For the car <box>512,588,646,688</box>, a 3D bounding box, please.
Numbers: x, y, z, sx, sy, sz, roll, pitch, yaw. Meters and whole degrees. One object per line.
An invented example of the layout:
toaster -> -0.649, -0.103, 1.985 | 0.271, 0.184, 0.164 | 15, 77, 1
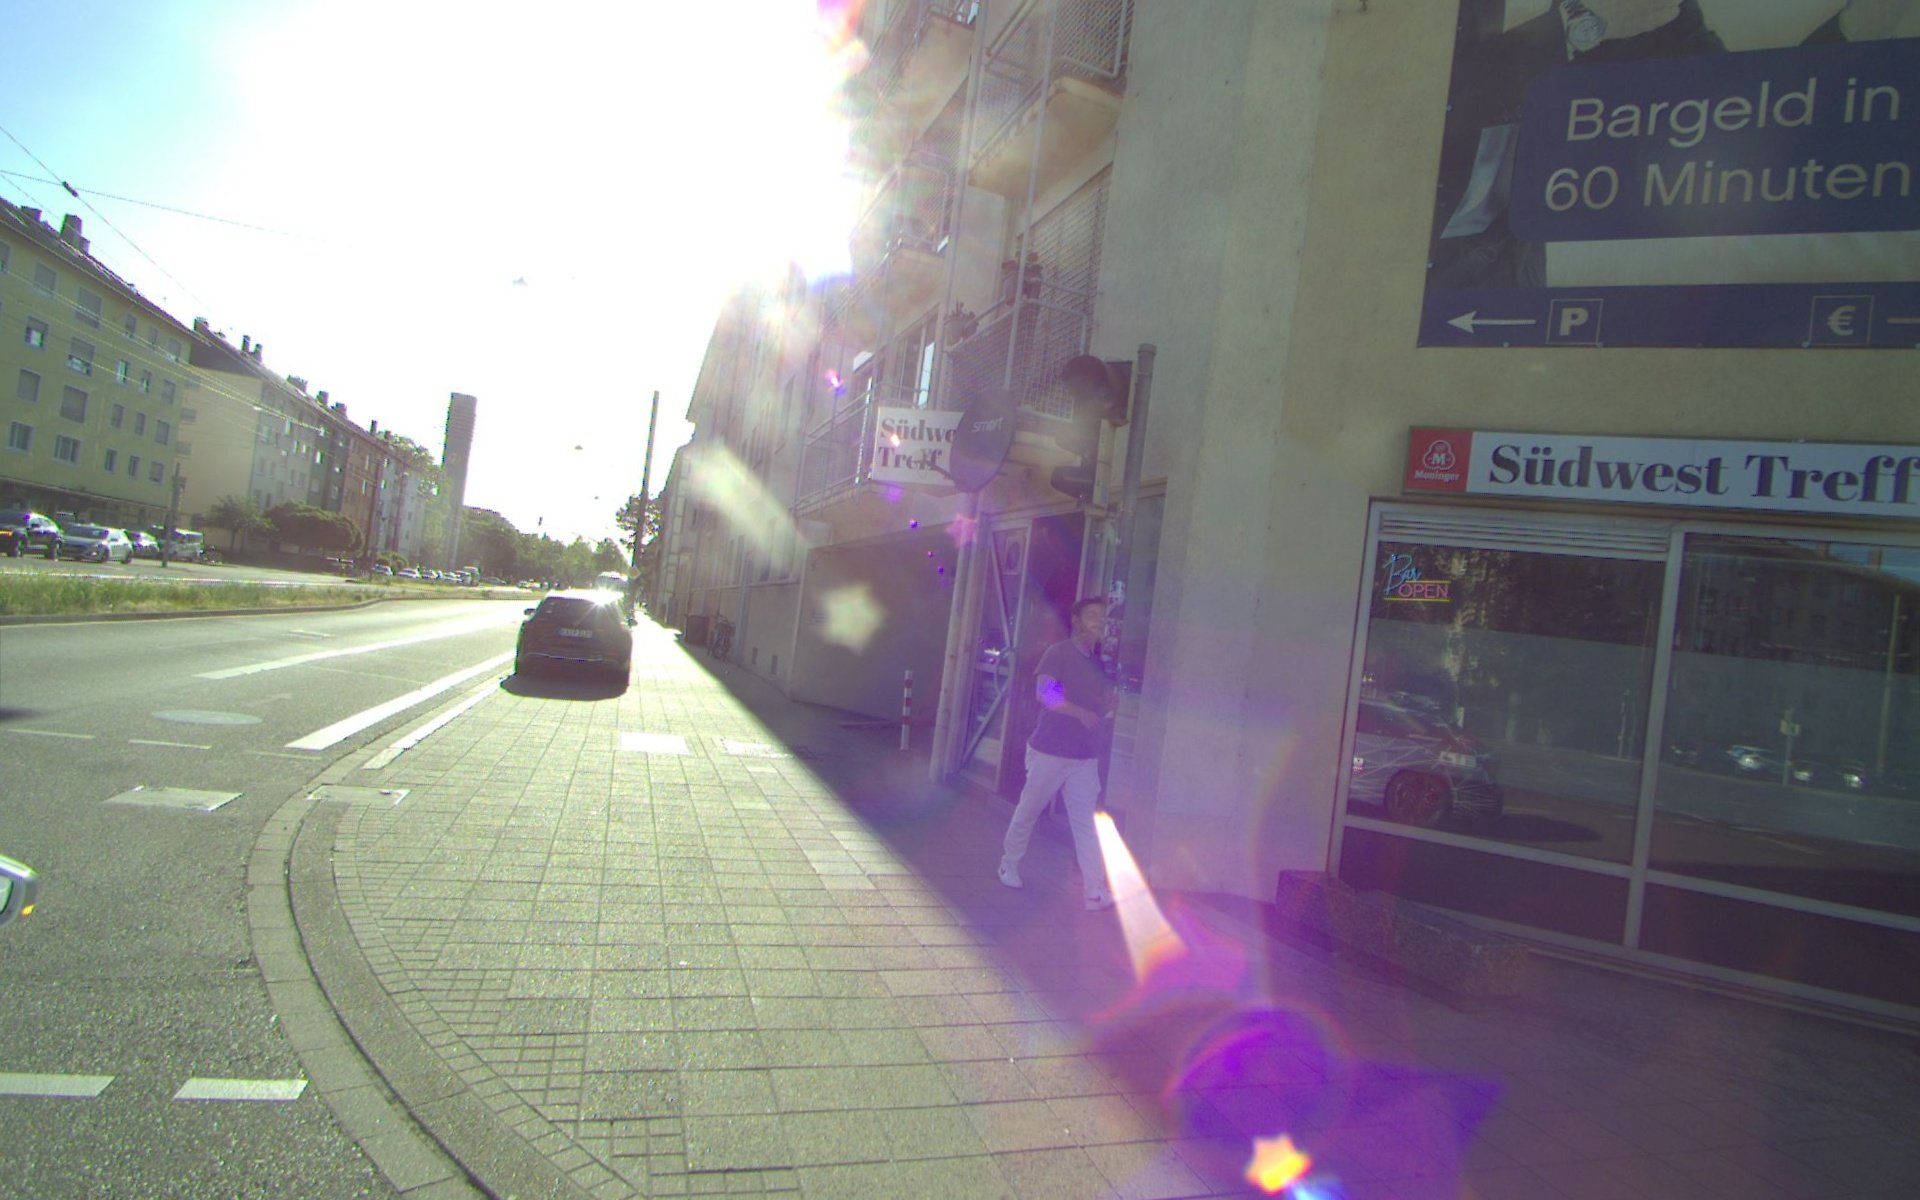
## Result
car -> -6.730, 0.617, 18.054 | 1.862, 1.414, 4.725 | 6, -2, -19

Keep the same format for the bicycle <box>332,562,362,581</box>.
bicycle -> -55.390, -2.586, 90.907 | 2.108, 1.338, 0.892 | 8, -4, -25

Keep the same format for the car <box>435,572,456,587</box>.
car -> -69.143, -2.748, 135.263 | 1.973, 1.570, 3.987 | 8, -4, -20

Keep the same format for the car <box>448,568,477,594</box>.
car -> -76.309, -2.859, 154.339 | 2.954, 3.272, 6.771 | 8, -4, -20

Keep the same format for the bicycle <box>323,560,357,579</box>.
bicycle -> -54.907, -2.670, 89.073 | 2.286, 1.319, 0.909 | 8, -4, -22

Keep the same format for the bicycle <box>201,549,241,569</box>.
bicycle -> -51.791, -2.874, 70.532 | 2.060, 1.033, 0.798 | 9, -4, -32

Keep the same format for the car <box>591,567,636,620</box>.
car -> -20.084, -0.360, 58.161 | 2.134, 2.683, 5.621 | 6, -1, -20

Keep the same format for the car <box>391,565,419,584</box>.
car -> -61.439, -2.784, 111.482 | 1.973, 1.598, 3.987 | 8, -4, -20

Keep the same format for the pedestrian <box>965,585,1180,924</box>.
pedestrian -> 0.613, 0.835, 5.829 | 0.678, 1.763, 1.037 | 6, -1, -20

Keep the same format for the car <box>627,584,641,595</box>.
car -> -65.399, -2.062, 201.882 | 1.976, 1.802, 3.980 | 8, -4, -25

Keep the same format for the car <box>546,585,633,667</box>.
car -> -8.137, 0.558, 22.105 | 1.535, 1.543, 2.977 | 7, -2, -20

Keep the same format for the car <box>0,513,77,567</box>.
car -> -32.151, -2.088, 33.899 | 1.942, 1.497, 4.552 | 8, -3, -20

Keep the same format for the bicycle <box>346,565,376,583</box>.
bicycle -> -55.526, -2.442, 93.259 | 2.117, 1.338, 0.889 | 9, -4, -36

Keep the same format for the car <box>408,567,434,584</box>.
car -> -64.892, -2.897, 121.163 | 1.973, 1.570, 3.987 | 8, -4, -20

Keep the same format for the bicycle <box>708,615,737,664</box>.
bicycle -> -6.454, 1.060, 27.306 | 0.508, 1.207, 1.552 | 7, -1, -18

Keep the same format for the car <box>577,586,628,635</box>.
car -> -13.884, 0.379, 38.984 | 1.643, 1.664, 4.166 | 6, -1, -21

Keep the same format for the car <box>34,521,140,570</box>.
car -> -34.693, -2.121, 40.103 | 1.805, 1.462, 4.265 | 8, -3, -23

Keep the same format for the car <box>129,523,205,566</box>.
car -> -50.401, -3.457, 64.059 | 1.982, 2.129, 5.286 | 8, -3, -20

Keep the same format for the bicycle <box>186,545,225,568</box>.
bicycle -> -51.365, -2.949, 68.501 | 0.688, 1.219, 1.961 | 3, -5, 44

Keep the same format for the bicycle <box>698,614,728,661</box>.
bicycle -> -7.184, 1.071, 29.202 | 0.622, 1.207, 1.875 | 6, -1, -18
